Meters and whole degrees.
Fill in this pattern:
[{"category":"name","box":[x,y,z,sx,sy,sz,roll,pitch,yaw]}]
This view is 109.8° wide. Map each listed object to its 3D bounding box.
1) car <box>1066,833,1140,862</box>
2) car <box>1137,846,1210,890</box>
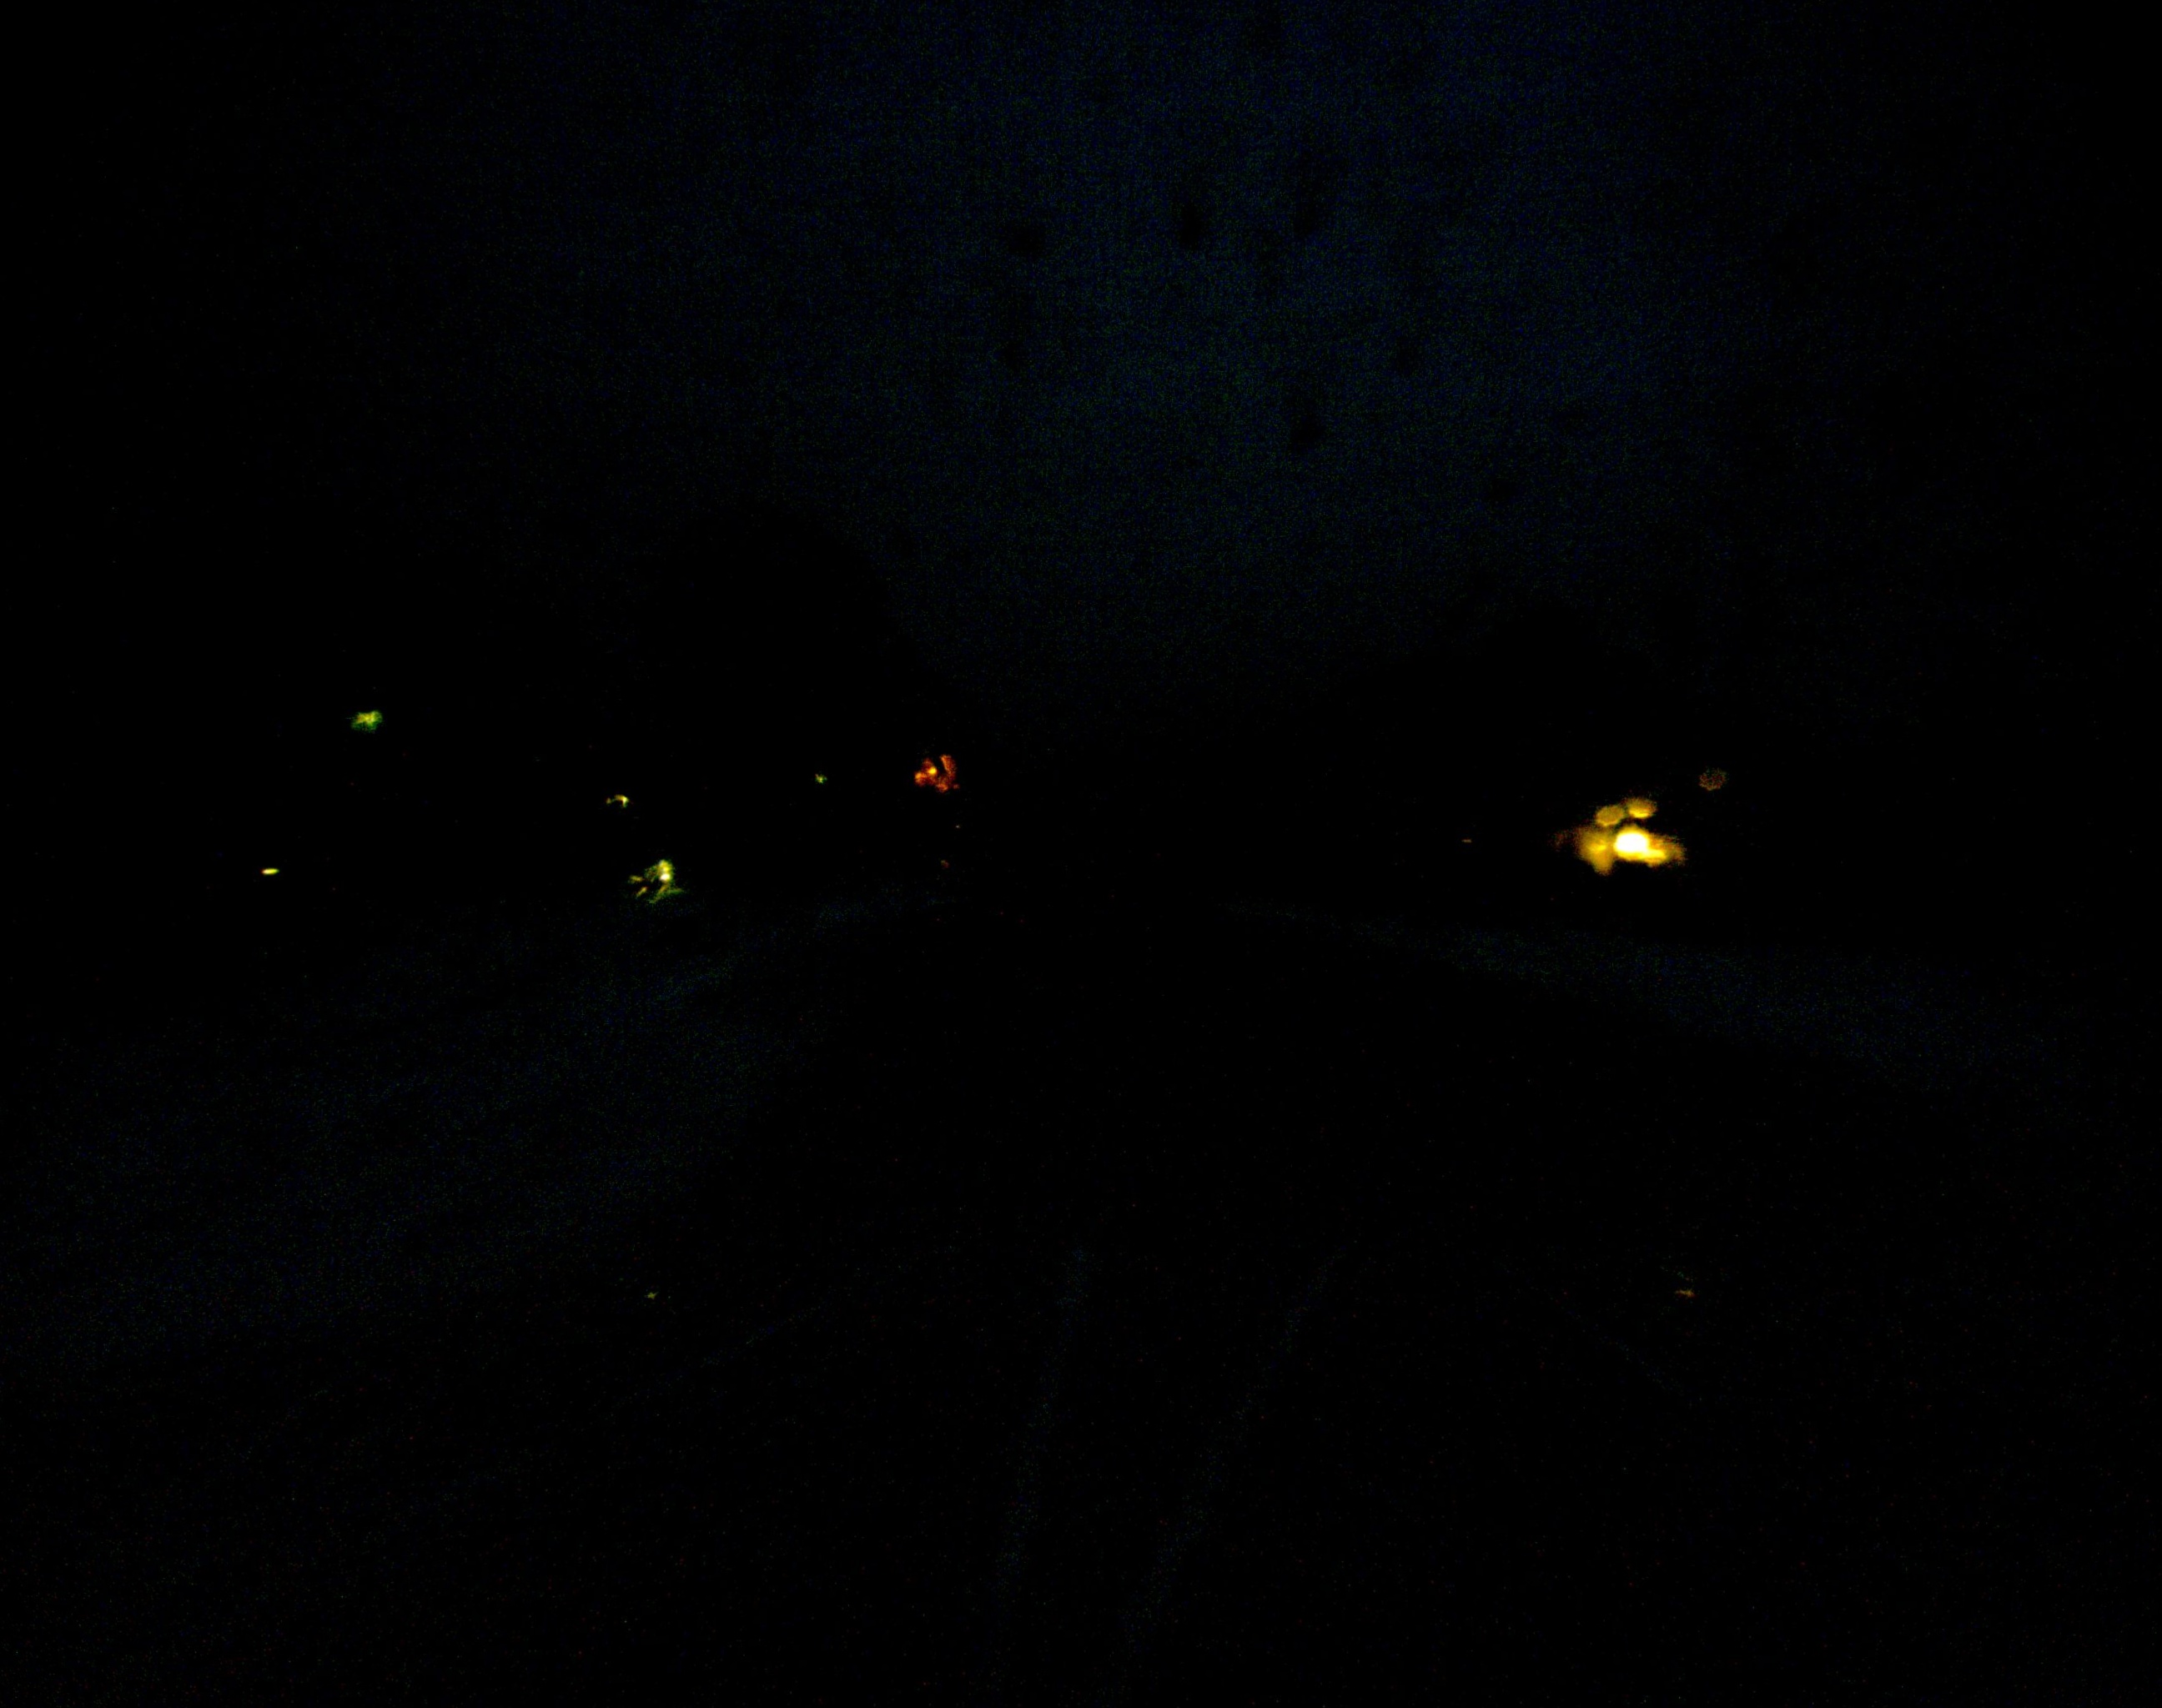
[{"category":"car","box":[1.692,-0.537,59.107,5.281,2.003,2.210,1,4,-16]},{"category":"car","box":[3.446,0.492,28.866,1.724,1.525,3.513,1,0,-11]}]
